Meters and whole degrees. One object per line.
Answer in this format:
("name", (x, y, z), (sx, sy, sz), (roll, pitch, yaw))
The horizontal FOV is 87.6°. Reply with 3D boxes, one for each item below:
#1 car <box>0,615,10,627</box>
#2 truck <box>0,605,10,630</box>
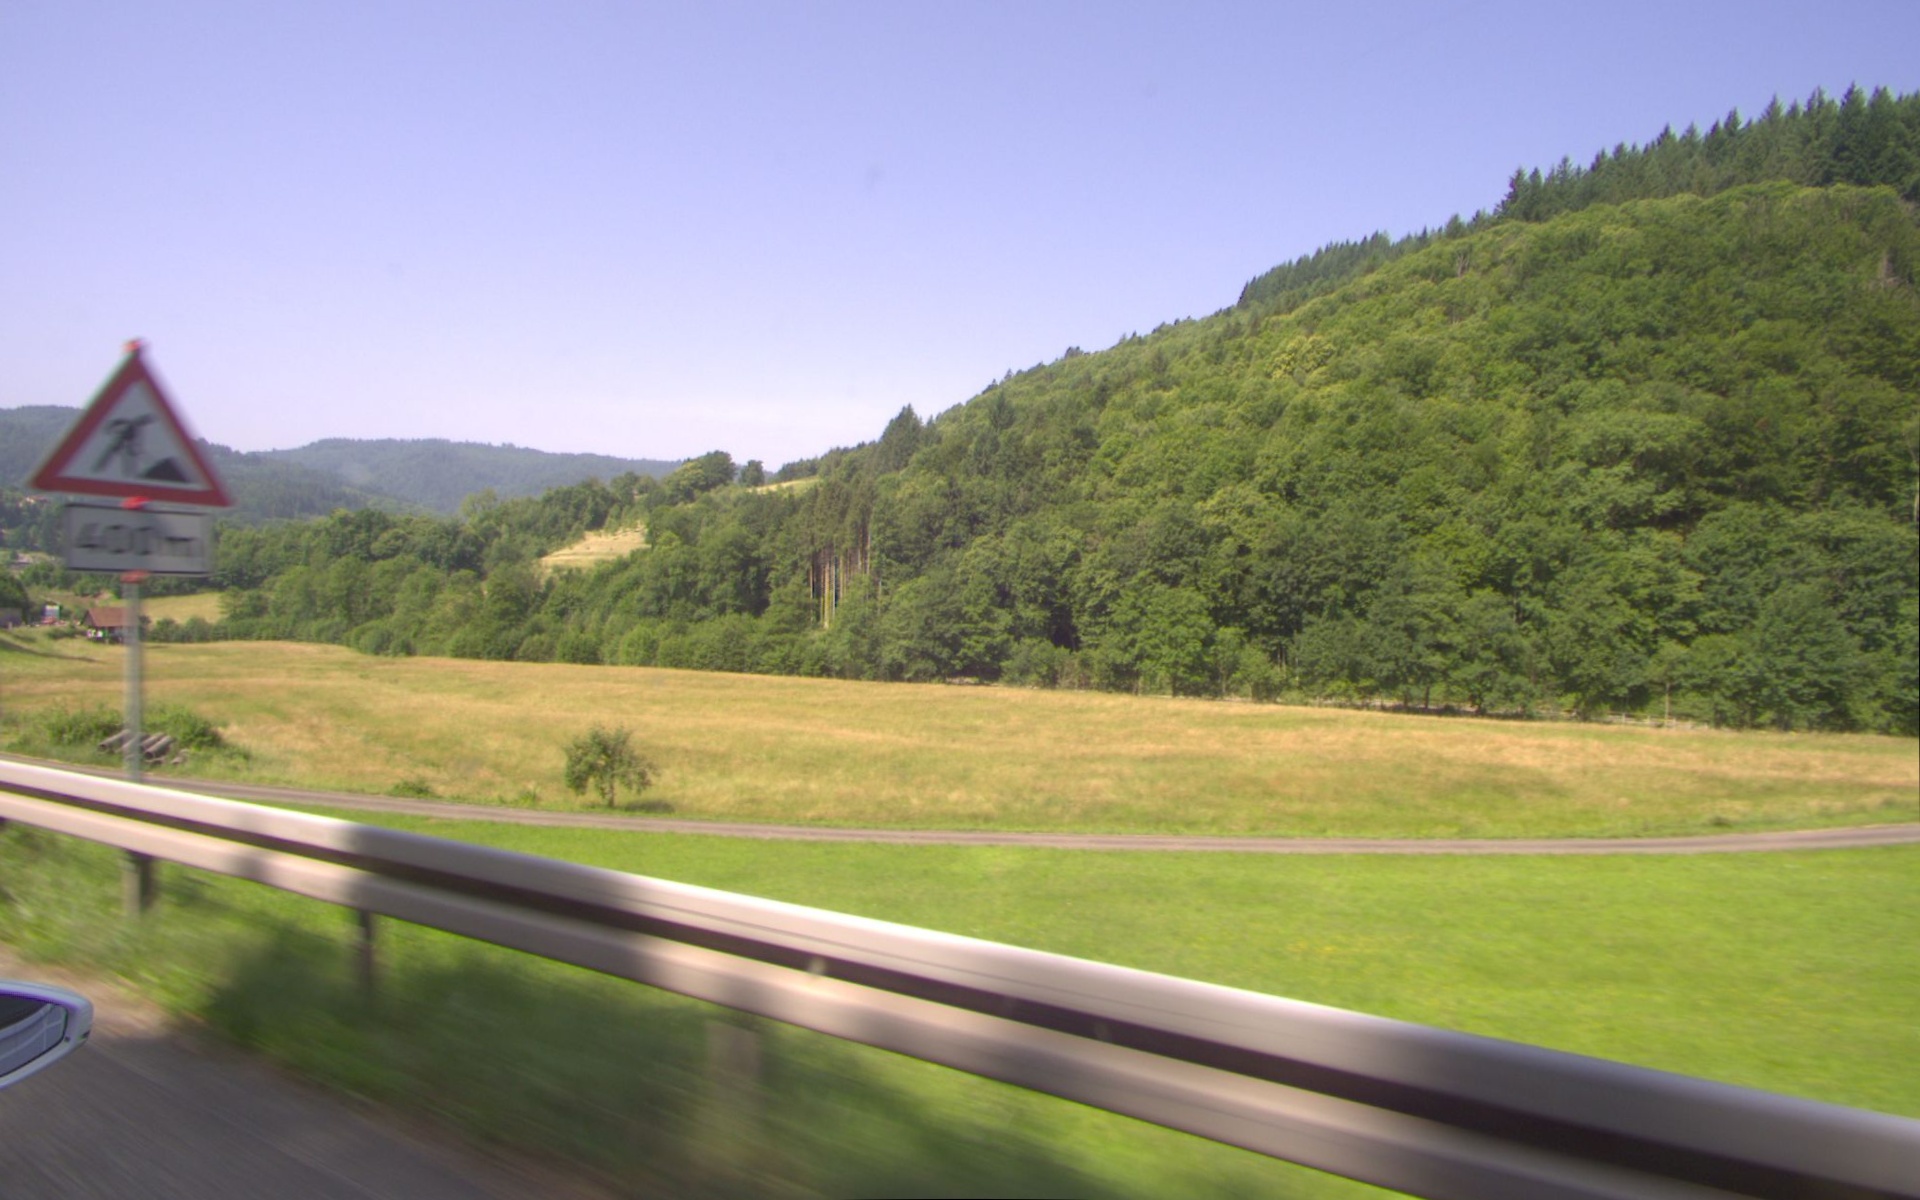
("car", (-161.458, 3.440, 167.846), (1.971, 1.947, 3.988), (5, -6, -26))
("truck", (-175.459, 3.171, 181.421), (3.154, 4.453, 6.538), (3, -2, -29))
